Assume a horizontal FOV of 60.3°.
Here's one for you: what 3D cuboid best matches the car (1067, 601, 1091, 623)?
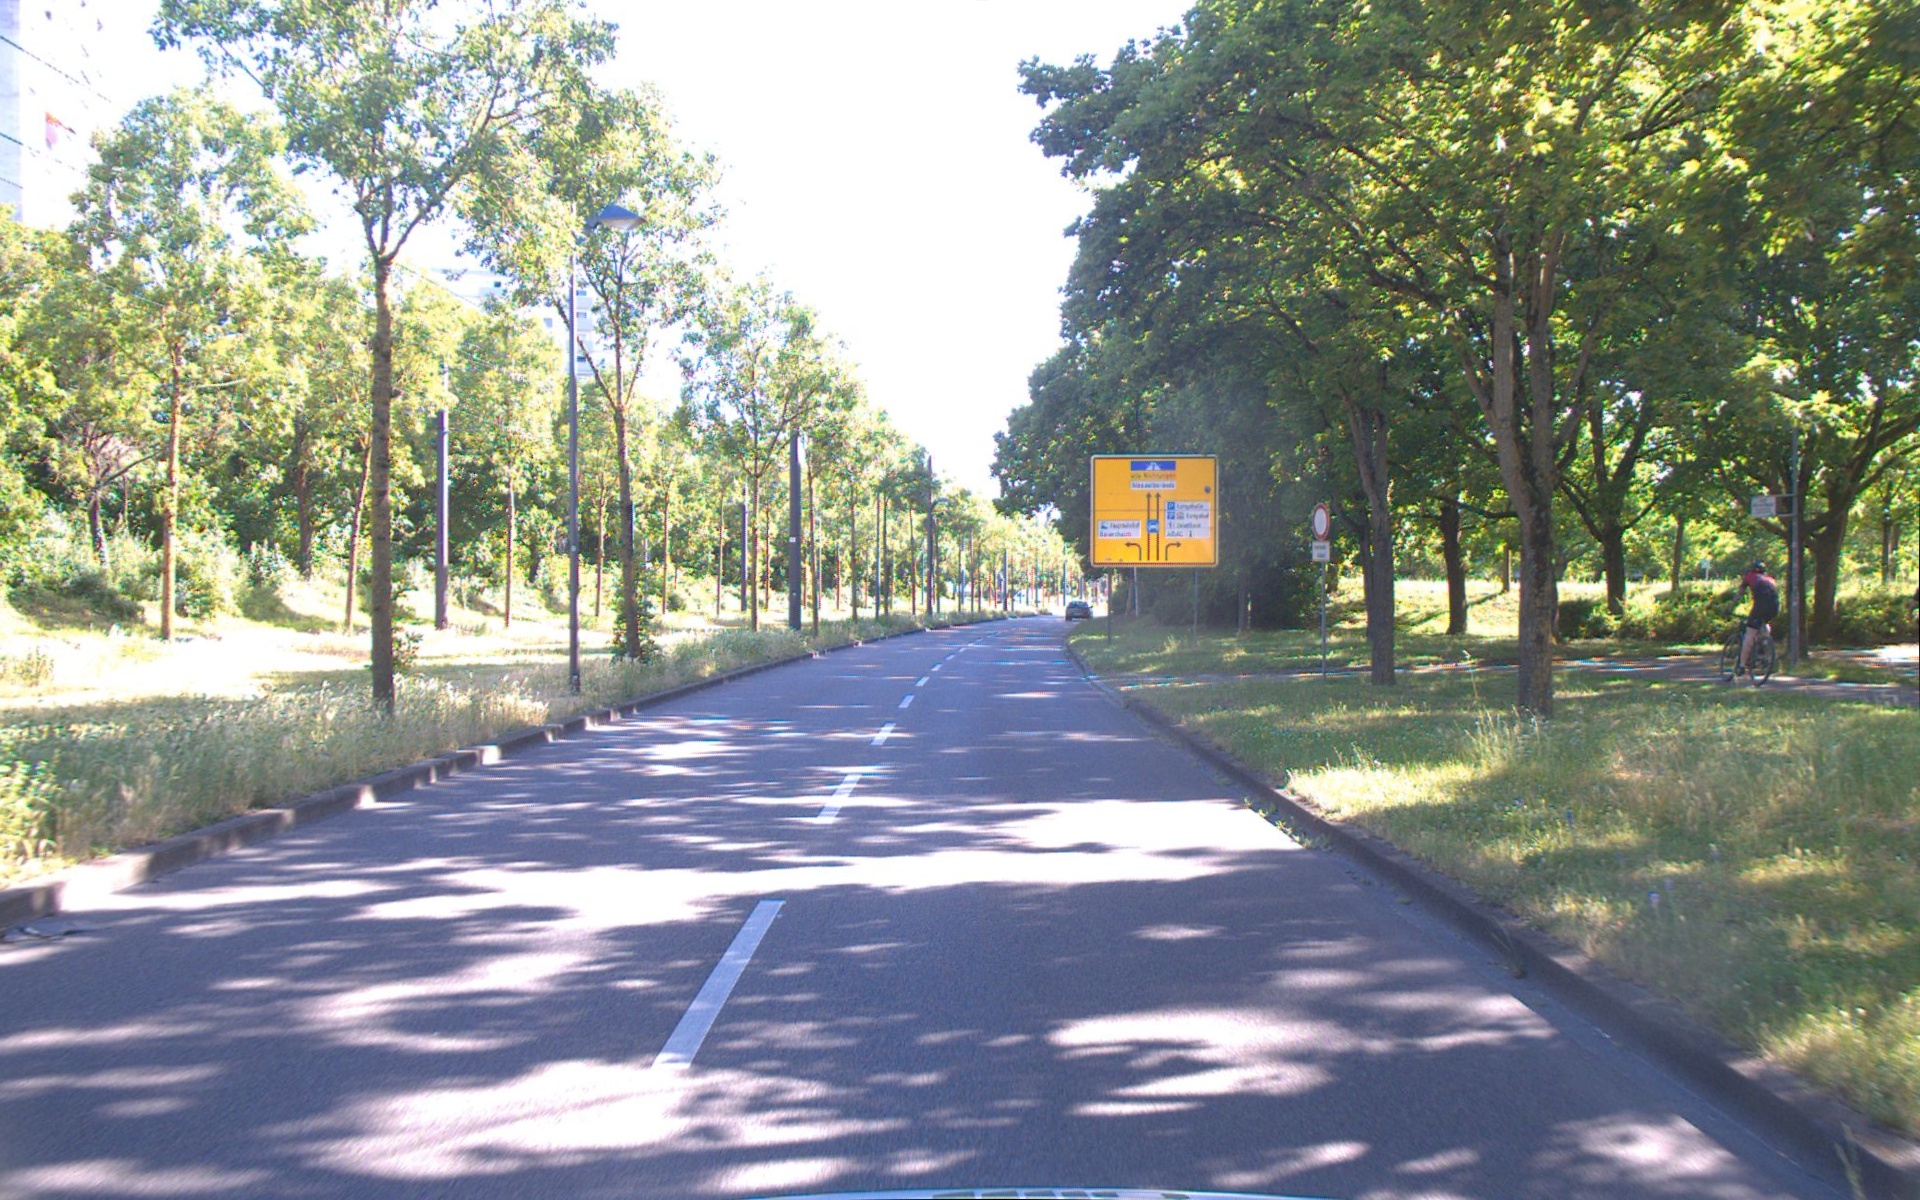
[{"bbox_3d":[8.564,0.857,118.667,1.599,1.524,4.237,1,0,5],"label":"car"}]

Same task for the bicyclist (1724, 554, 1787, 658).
[{"bbox_3d":[11.537,0.089,24.007,0.773,1.475,0.845,0,0,23],"label":"bicyclist"}]

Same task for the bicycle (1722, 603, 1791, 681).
[{"bbox_3d":[11.560,0.592,24.050,0.778,1.065,2.142,0,0,23],"label":"bicycle"}]

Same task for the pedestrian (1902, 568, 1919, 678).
[{"bbox_3d":[14.749,0.339,25.083,0.535,1.650,0.845,0,0,11],"label":"pedestrian"}]
